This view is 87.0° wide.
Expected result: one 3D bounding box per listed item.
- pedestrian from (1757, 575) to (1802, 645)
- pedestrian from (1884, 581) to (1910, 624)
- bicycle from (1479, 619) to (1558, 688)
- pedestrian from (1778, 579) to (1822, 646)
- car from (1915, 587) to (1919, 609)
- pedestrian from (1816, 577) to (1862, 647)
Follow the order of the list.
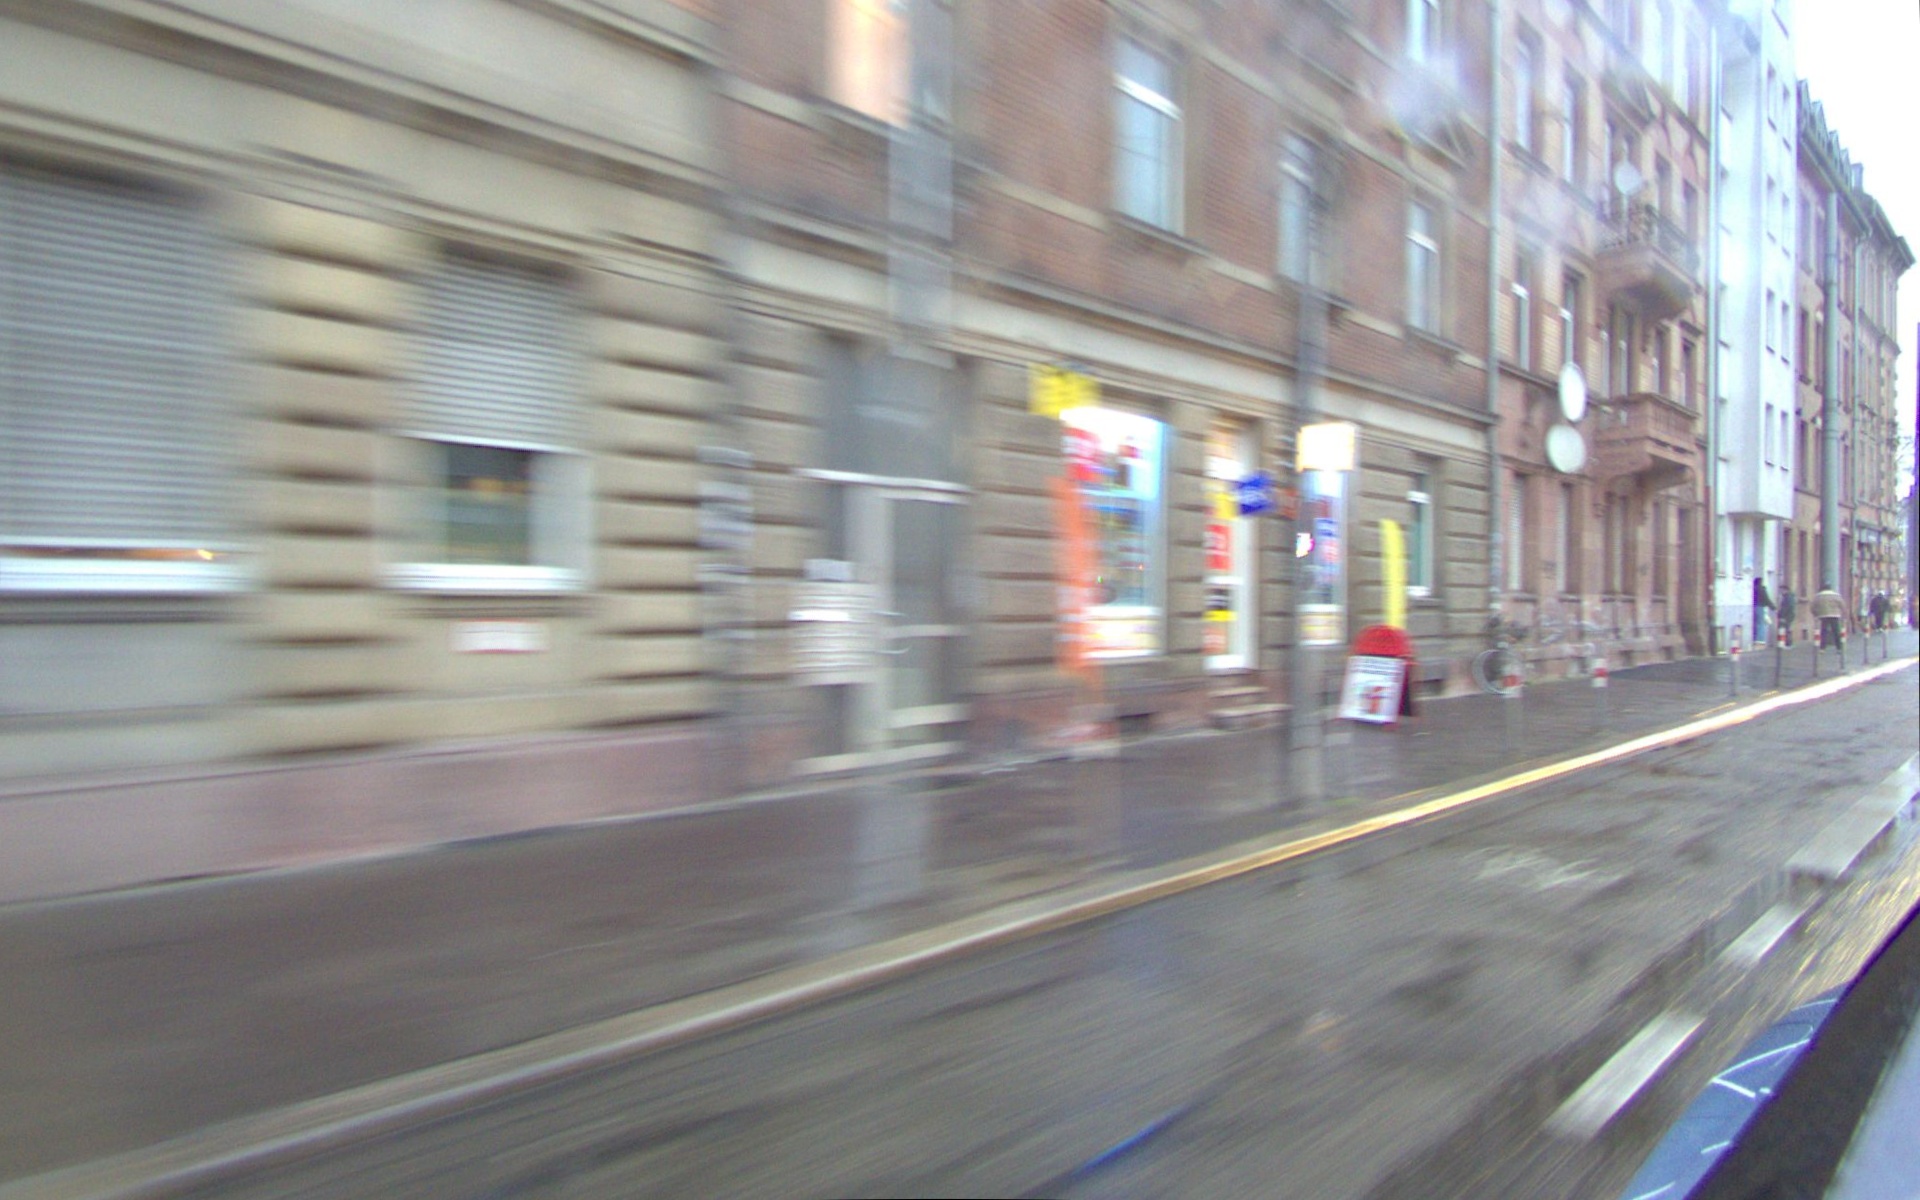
[{"bbox_3d":[21.297,0.238,26.298,0.661,1.766,0.777,0,1,-40],"label":"pedestrian"},{"bbox_3d":[34.859,0.094,37.647,0.698,1.567,0.633,0,1,-41],"label":"pedestrian"},{"bbox_3d":[8.257,0.765,14.931,1.834,0.922,0.398,0,1,-41],"label":"bicycle"},{"bbox_3d":[22.579,0.317,27.192,0.661,1.766,0.777,0,1,-40],"label":"pedestrian"},{"bbox_3d":[81.970,-0.175,84.771,4.778,1.861,2.000,0,1,-35],"label":"car"},{"bbox_3d":[22.649,0.298,26.076,0.661,1.766,0.777,0,1,-40],"label":"pedestrian"}]
